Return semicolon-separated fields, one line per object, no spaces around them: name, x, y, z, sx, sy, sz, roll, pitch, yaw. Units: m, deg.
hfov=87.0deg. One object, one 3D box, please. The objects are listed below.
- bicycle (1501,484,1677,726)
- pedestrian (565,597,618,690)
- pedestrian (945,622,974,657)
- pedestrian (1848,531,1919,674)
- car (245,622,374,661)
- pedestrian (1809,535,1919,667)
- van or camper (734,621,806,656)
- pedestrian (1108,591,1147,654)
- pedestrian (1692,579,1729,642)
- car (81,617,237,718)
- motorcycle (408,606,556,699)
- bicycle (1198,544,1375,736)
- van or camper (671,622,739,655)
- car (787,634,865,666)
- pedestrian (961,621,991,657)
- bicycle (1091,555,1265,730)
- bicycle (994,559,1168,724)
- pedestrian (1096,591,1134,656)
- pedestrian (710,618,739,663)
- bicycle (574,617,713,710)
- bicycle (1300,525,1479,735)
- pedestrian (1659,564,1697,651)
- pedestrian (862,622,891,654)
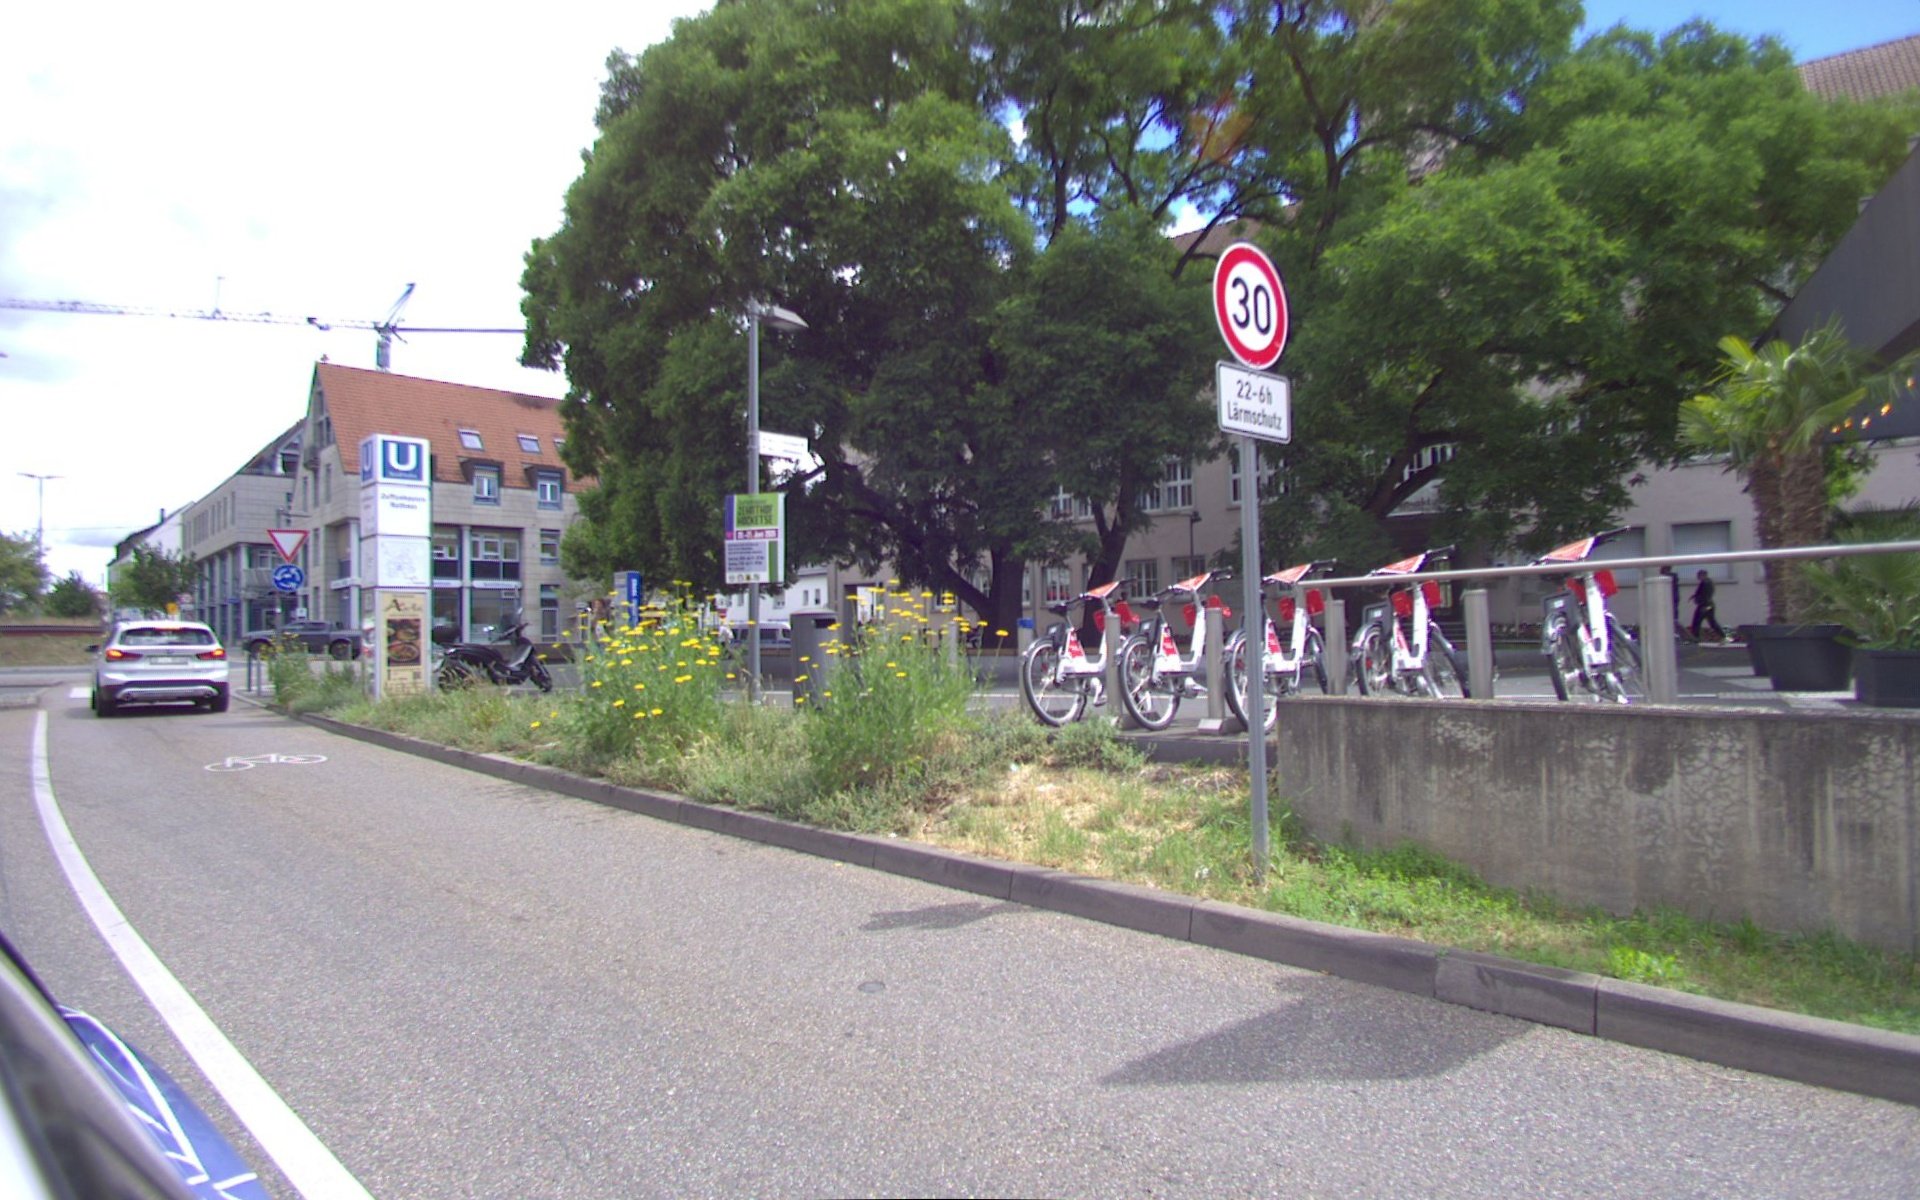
bicycle;3.456;0.047;5.508;0.533;1.136;1.530;-2;-3;42
pedestrian;-6.754;0.795;18.533;0.652;1.641;0.801;0;-3;-41
pedestrian;-0.017;1.423;36.363;0.690;1.235;0.807;-4;-3;37
pedestrian;9.548;0.021;10.151;0.789;1.390;0.792;0;0;29
car;-30.331;1.927;47.354;4.807;1.666;1.752;0;0;-21
pedestrian;10.002;0.013;11.184;0.789;1.390;0.792;0;0;29
van or camper;-13.347;2.715;71.238;4.636;2.400;1.988;-1;-2;18
pedestrian;5.028;0.686;30.424;0.878;1.864;0.653;-4;-3;42
pedestrian;16.337;0.230;22.019;0.593;1.348;0.635;-1;0;42
car;-14.404;1.151;18.117;1.801;1.597;4.169;3;-4;-43
motorcycle;-8.020;0.861;17.087;0.648;1.461;2.166;-1;-2;40
bicycle;2.205;0.259;6.739;0.533;1.136;1.530;-2;-3;42
van or camper;-19.097;2.909;75.745;4.636;2.400;1.988;-1;-2;18
car;-7.375;2.724;55.840;4.012;1.551;1.749;0;0;-41
pedestrian;0.566;1.382;35.891;0.690;1.235;0.807;-4;-3;37
bicycle;1.607;0.298;7.302;0.533;1.136;1.530;-2;-3;42
bicycle;0.958;0.311;7.757;0.533;1.136;1.530;-2;-3;42
pedestrian;4.581;0.693;29.886;0.829;1.864;0.653;-4;-3;42
pedestrian;-9.077;1.573;39.041;0.816;1.688;0.682;-4;-3;38
bicycle;-3.937;0.773;12.689;0.514;1.090;1.670;-4;-4;37
bicycle;2.676;0.186;6.231;0.533;1.136;1.530;-2;-3;42
pedestrian;15.334;0.149;21.618;0.593;1.821;0.635;-1;0;42
pedestrian;-3.200;1.452;38.825;0.690;1.184;0.807;-4;-3;37
